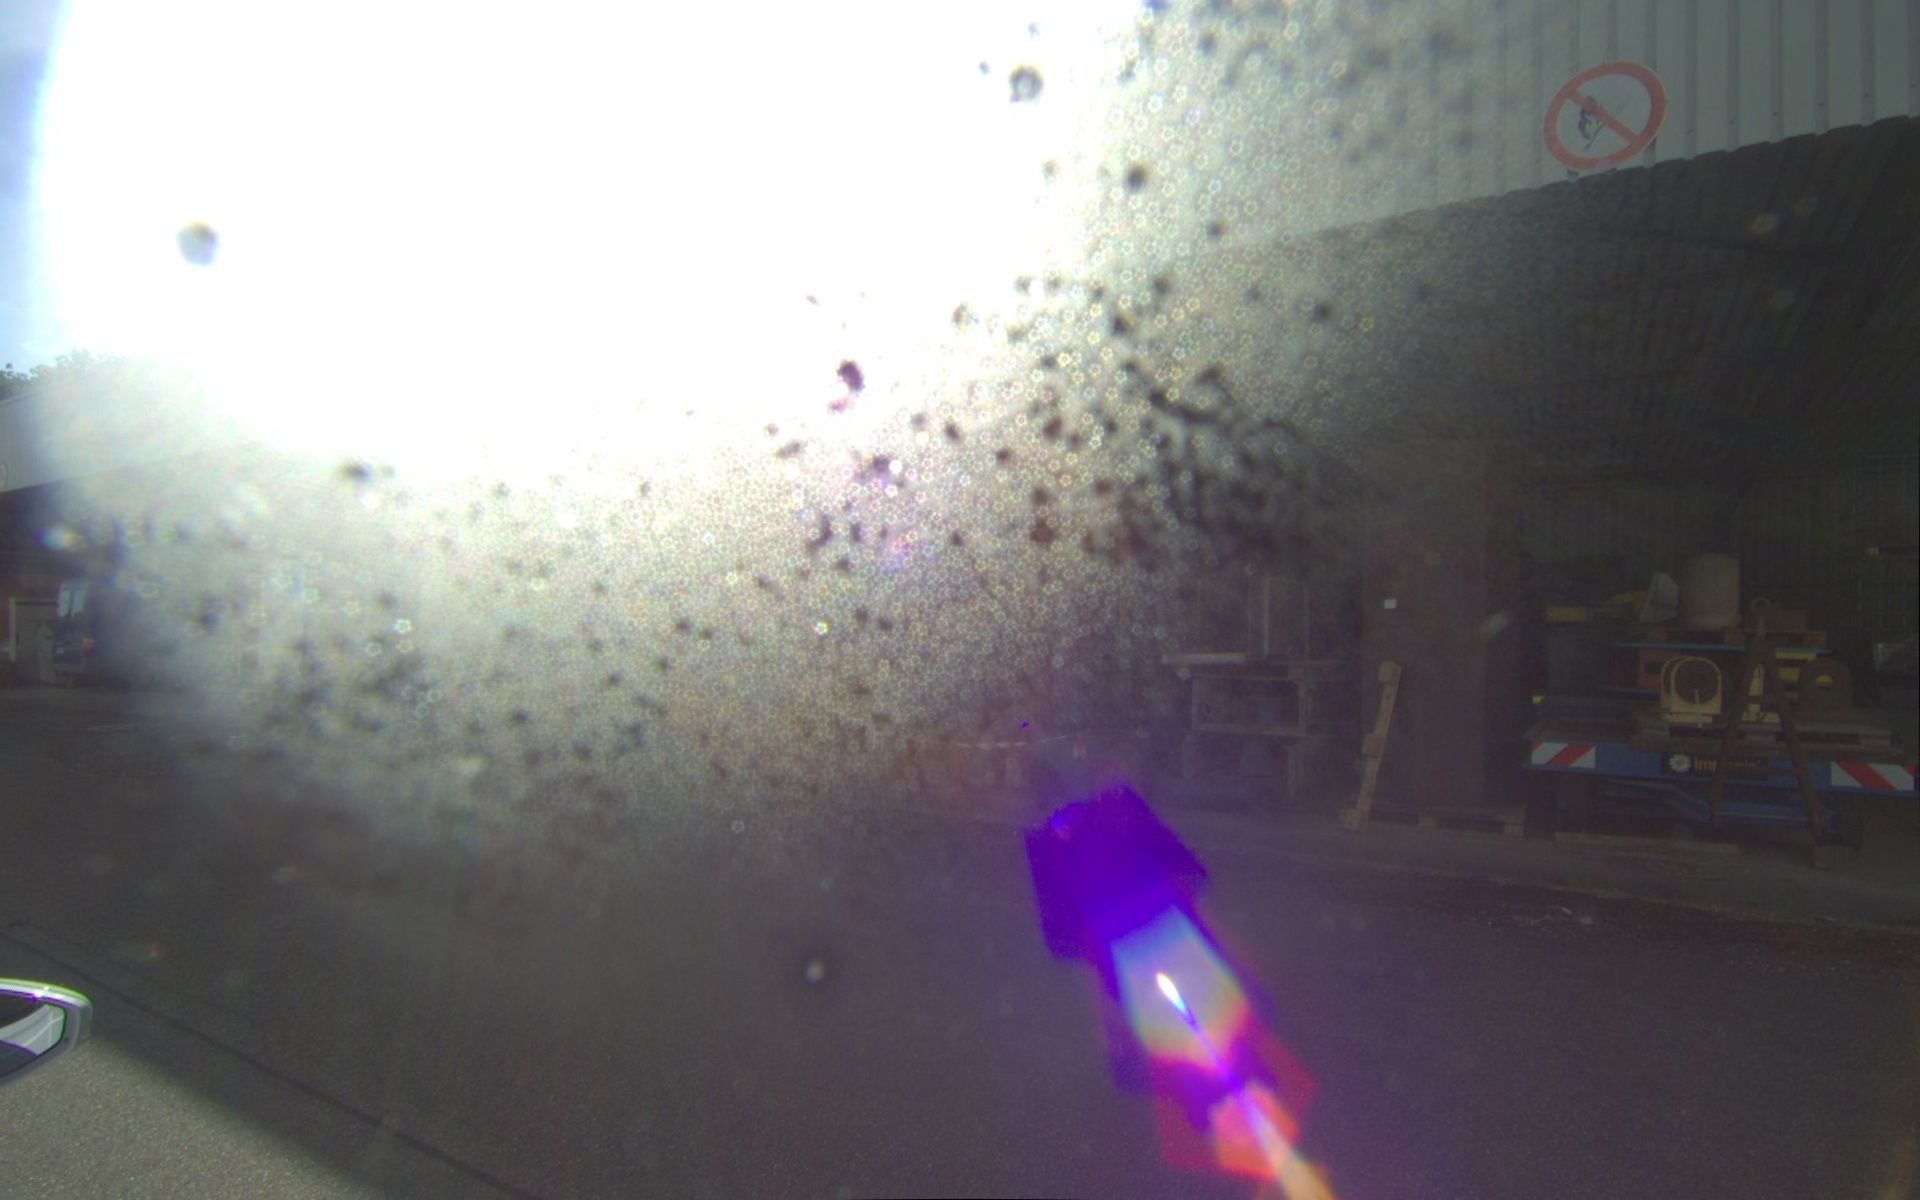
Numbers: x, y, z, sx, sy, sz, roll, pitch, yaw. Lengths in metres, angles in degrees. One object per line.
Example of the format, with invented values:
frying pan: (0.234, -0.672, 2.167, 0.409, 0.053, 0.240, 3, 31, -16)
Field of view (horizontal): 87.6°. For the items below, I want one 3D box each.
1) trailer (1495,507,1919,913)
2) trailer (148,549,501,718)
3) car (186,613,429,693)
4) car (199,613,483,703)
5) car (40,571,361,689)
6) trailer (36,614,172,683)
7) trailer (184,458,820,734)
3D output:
trailer: (5.300, 0.600, 7.261, 2.133, 2.016, 4.413, -1, -1, 33)
trailer: (-10.228, 0.528, 16.492, 2.018, 2.372, 4.507, -1, -1, 33)
car: (-13.763, 1.091, 21.362, 1.812, 1.533, 3.962, -1, -2, 29)
car: (-11.592, 1.055, 19.087, 1.841, 1.490, 4.246, 0, -2, 29)
car: (-16.745, 0.691, 22.444, 2.121, 2.310, 5.326, -1, -2, 31)
trailer: (-19.515, 1.076, 22.856, 1.715, 1.485, 2.032, 0, -1, 36)
trailer: (-6.797, 0.061, 17.372, 2.761, 3.386, 10.250, 0, -1, 32)
